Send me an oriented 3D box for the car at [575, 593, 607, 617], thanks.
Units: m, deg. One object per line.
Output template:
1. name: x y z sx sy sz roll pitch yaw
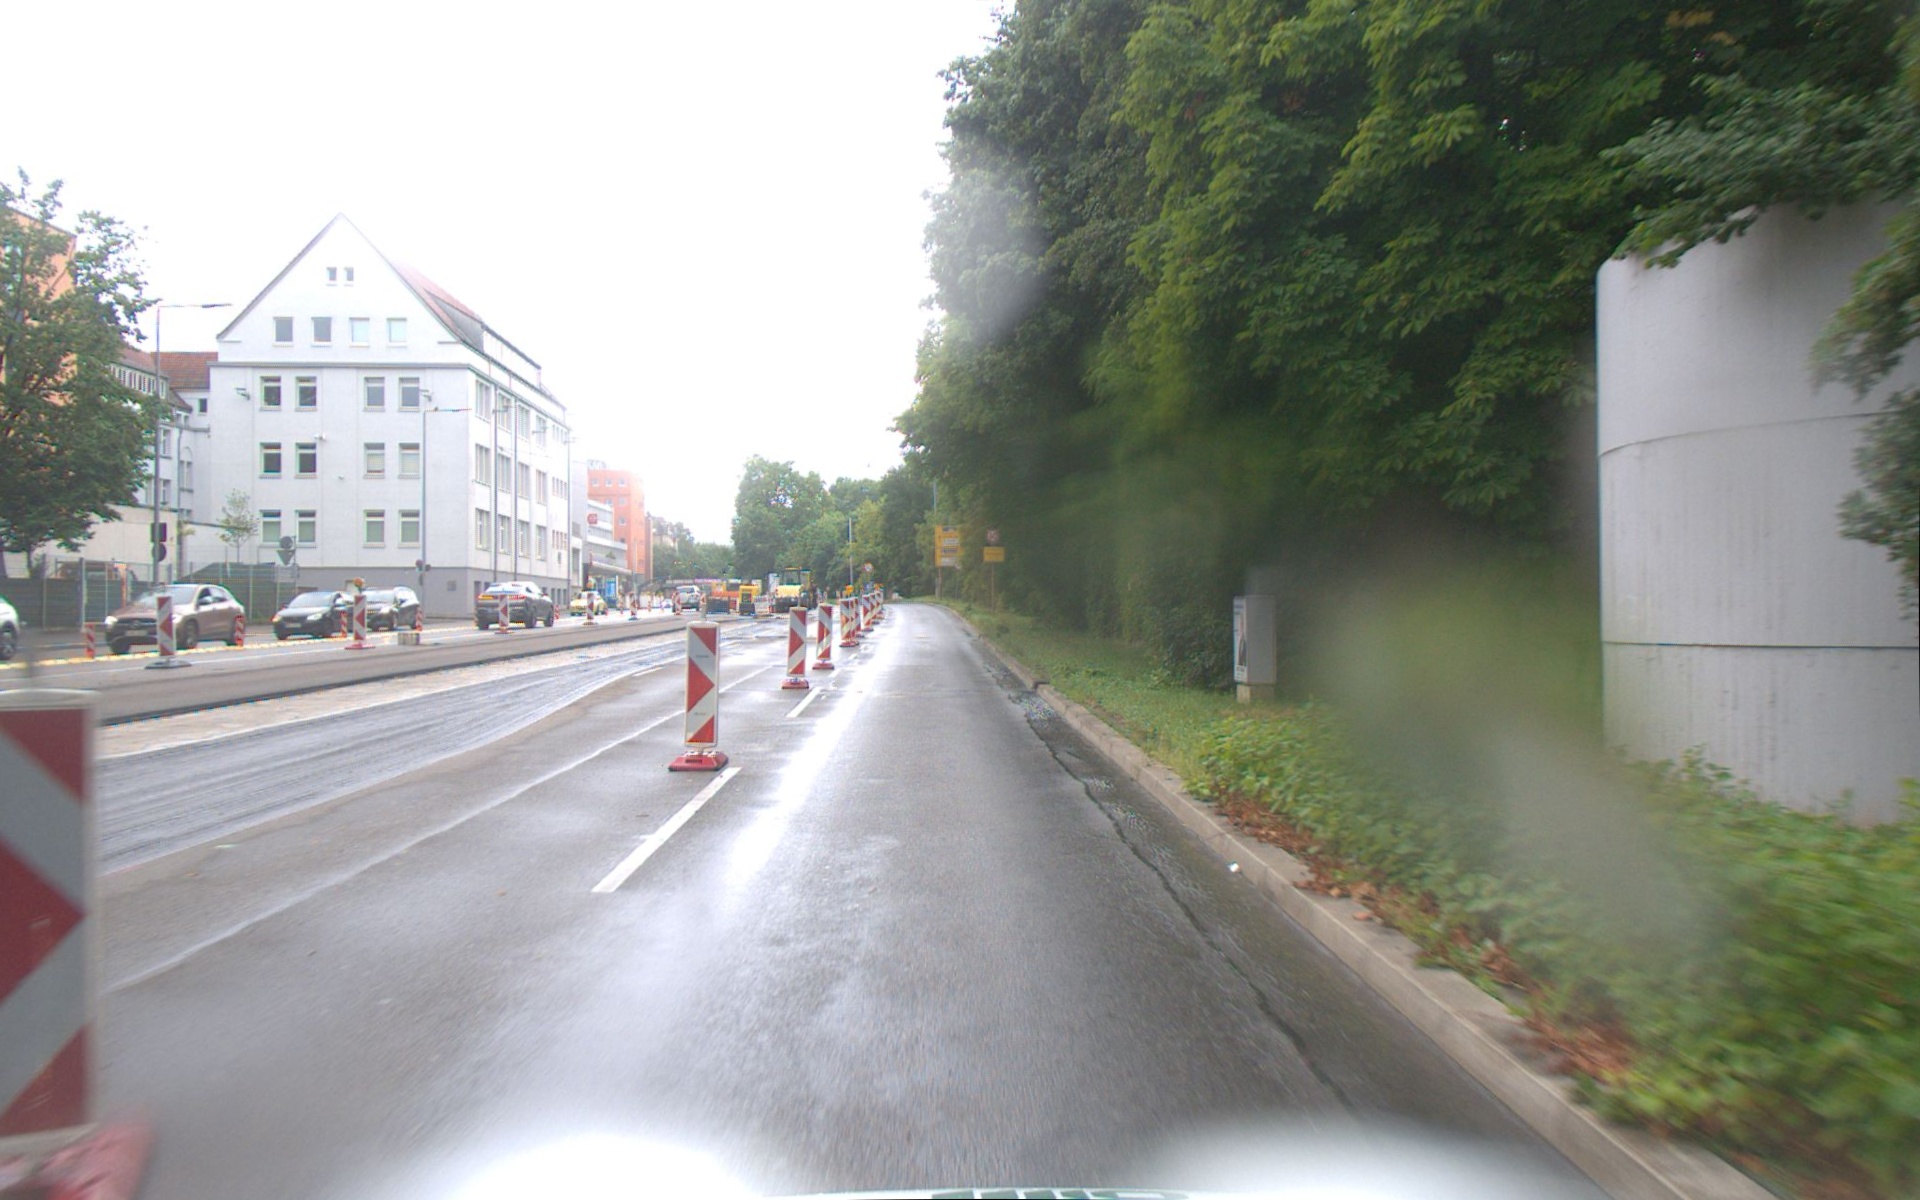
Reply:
1. car: -23.203 0.310 104.009 1.524 1.392 3.799 -2 0 -7

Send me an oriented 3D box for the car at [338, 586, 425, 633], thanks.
1. car: -22.140 0.364 63.470 1.821 1.658 4.328 -2 0 -1

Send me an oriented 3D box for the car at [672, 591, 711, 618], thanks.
1. car: -17.177 0.292 106.066 1.854 1.679 4.395 0 0 -1

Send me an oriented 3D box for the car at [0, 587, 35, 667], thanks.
1. car: -21.605 0.616 34.835 1.821 1.735 4.364 -2 0 -1

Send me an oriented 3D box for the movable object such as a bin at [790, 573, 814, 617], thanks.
1. movable object such as a bin: -11.334 -0.386 118.596 1.436 3.061 3.722 -2 0 -3

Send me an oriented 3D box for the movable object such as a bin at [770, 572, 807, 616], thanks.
1. movable object such as a bin: -10.659 -0.388 103.135 1.864 2.654 5.381 -1 0 -2

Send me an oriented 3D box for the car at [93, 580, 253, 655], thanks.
1. car: -19.037 0.402 40.218 1.821 1.647 4.364 -2 0 -1

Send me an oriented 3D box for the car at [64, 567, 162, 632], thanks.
1. car: -30.055 -0.023 58.804 1.578 2.208 3.998 0 0 -2

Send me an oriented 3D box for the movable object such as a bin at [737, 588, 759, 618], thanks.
1. movable object such as a bin: -12.106 0.185 94.483 1.061 1.673 2.437 0 0 -2

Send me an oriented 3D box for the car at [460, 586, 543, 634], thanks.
1. car: -16.639 0.342 60.220 1.854 1.679 4.395 0 0 -1

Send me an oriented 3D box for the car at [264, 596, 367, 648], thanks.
1. car: -20.326 0.682 52.313 1.821 1.501 3.731 -2 0 -1
